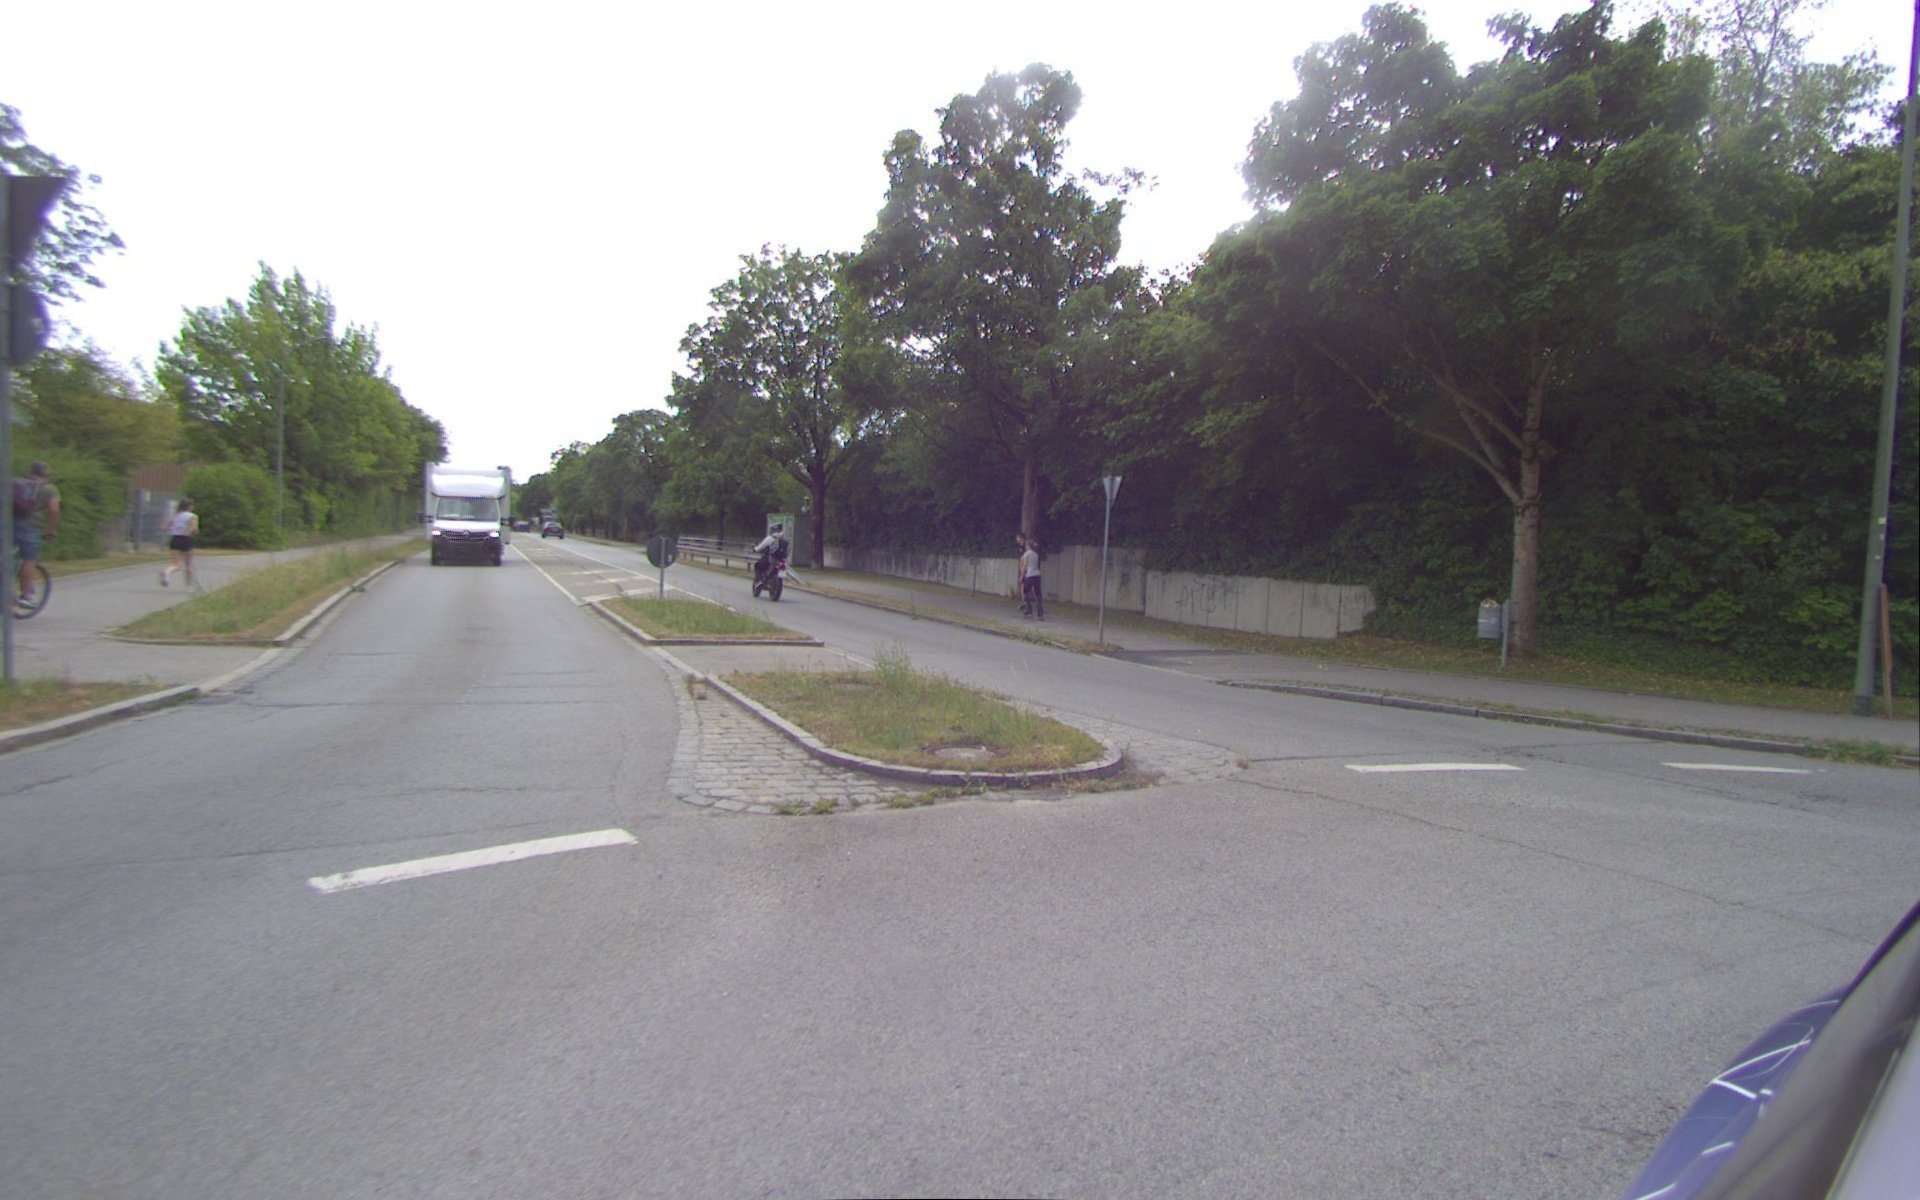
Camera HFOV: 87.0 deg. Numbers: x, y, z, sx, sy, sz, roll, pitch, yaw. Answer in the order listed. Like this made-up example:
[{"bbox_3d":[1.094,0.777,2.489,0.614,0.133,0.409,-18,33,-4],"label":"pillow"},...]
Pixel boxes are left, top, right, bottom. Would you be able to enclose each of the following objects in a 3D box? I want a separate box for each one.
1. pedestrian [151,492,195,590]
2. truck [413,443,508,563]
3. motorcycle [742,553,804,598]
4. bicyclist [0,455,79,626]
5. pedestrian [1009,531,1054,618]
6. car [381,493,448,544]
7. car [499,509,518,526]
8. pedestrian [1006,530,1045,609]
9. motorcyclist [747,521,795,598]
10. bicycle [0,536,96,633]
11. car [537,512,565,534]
[{"bbox_3d":[-12.914,-0.970,16.619,0.535,1.549,0.844,1,3,-36],"label":"pedestrian"},{"bbox_3d":[-16.643,-3.145,33.745,2.562,3.488,7.524,0,4,-27],"label":"truck"},{"bbox_3d":[-4.305,-0.572,23.214,0.920,0.942,1.616,1,4,-27],"label":"motorcycle"},{"bbox_3d":[-10.538,-0.676,11.312,0.796,1.810,0.980,4,1,-32],"label":"bicyclist"},{"bbox_3d":[1.517,-0.552,21.572,0.717,1.802,0.595,0,3,-32],"label":"pedestrian"},{"bbox_3d":[-25.257,-3.769,47.078,2.563,2.151,5.736,0,4,-27],"label":"car"},{"bbox_3d":[-58.667,-10.675,131.554,1.996,2.151,5.736,0,4,-27],"label":"car"},{"bbox_3d":[1.541,-0.724,23.794,0.623,1.830,0.616,0,3,-32],"label":"pedestrian"},{"bbox_3d":[-4.335,-0.932,23.202,0.828,1.721,0.824,1,3,-28],"label":"motorcyclist"},{"bbox_3d":[-10.570,-0.216,11.334,0.947,0.886,2.499,4,2,-32],"label":"bicycle"},{"bbox_3d":[-38.601,-7.228,95.326,1.996,1.969,5.736,0,4,-27],"label":"car"}]
